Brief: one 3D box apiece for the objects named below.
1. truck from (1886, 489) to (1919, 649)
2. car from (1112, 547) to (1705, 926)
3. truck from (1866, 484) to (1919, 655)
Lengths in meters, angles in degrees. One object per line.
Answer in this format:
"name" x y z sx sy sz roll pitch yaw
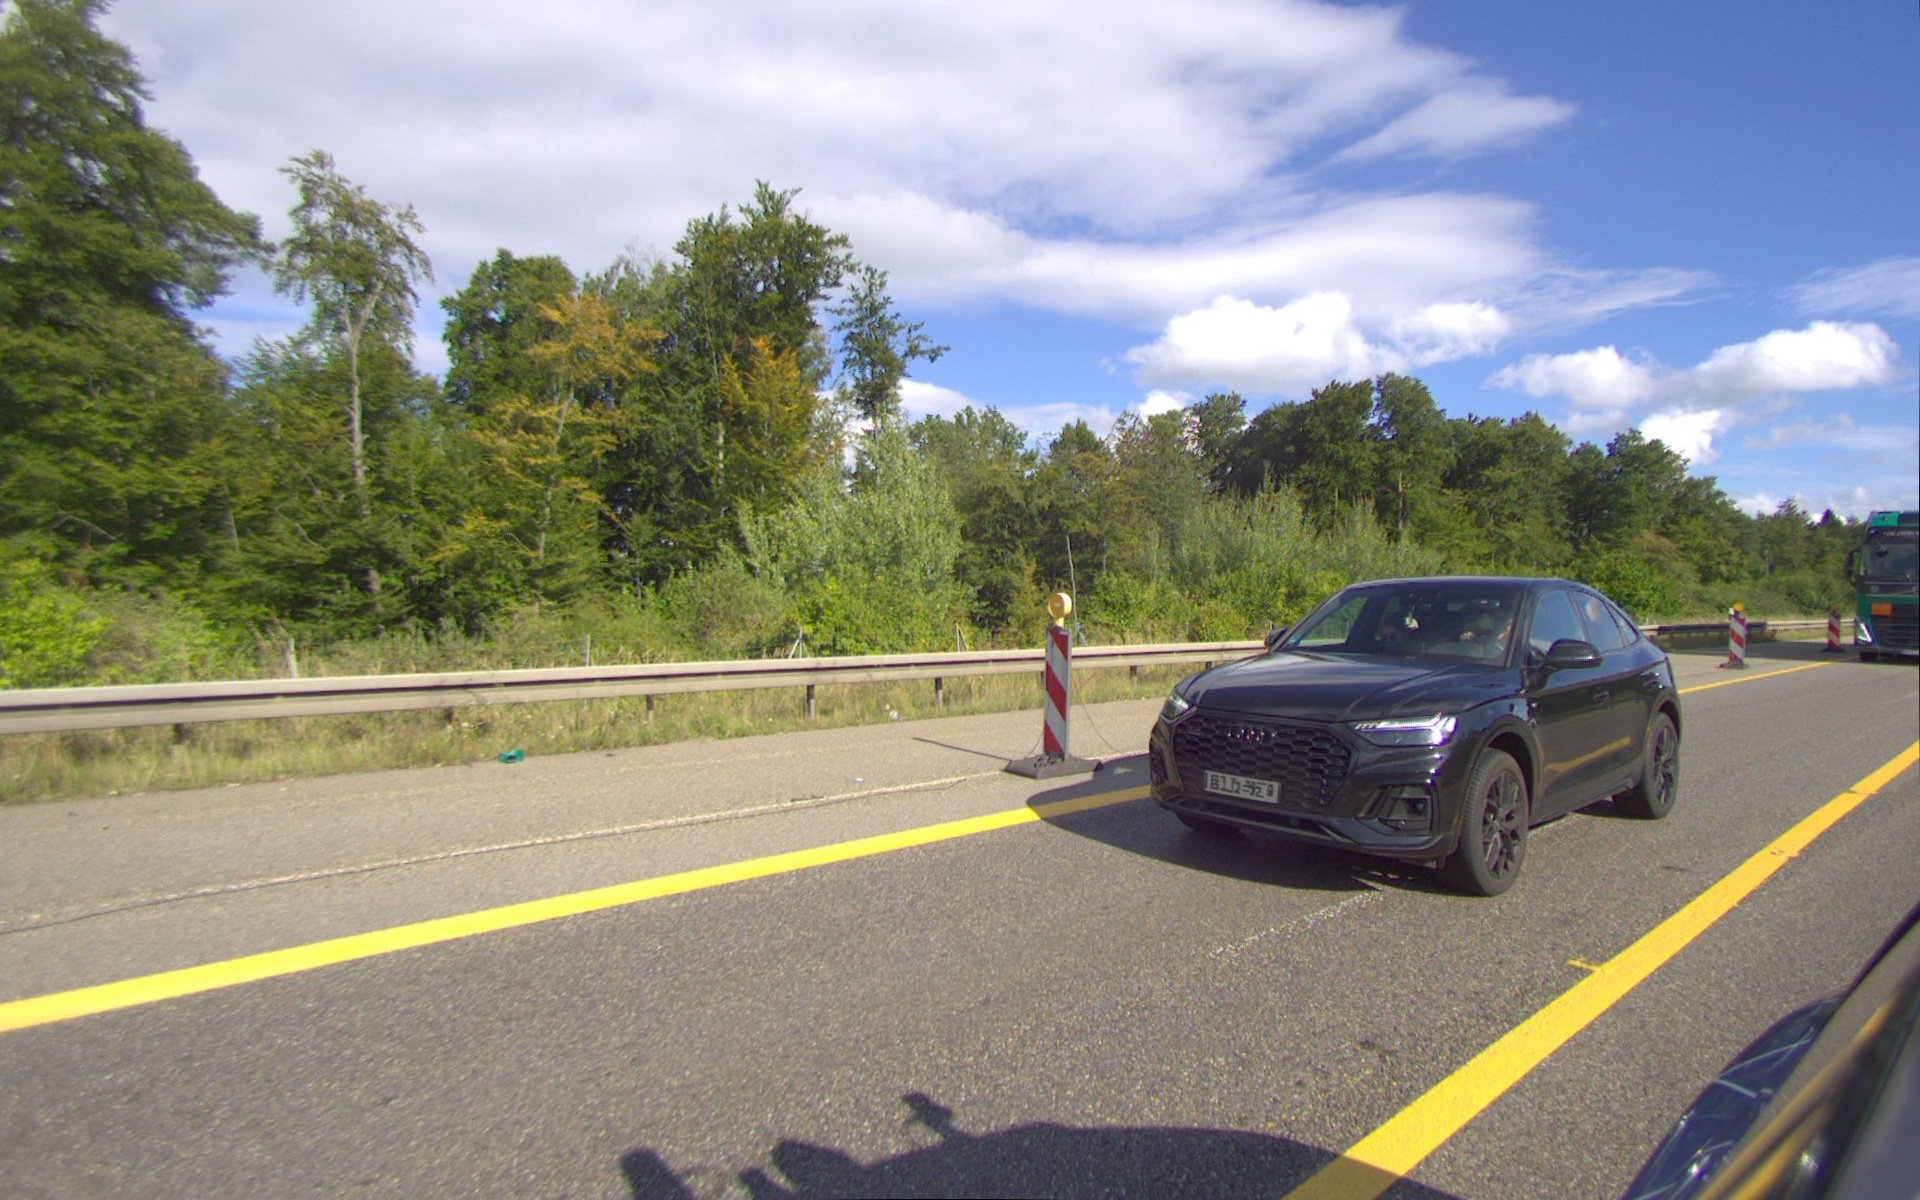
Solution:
"truck" 30.763 -0.772 30.522 13.958 4.196 2.469 0 -1 -40
"car" 3.036 0.568 6.398 4.218 1.623 1.781 -1 0 -40
"truck" 25.962 -0.764 26.428 6.735 4.151 2.526 0 0 -40
